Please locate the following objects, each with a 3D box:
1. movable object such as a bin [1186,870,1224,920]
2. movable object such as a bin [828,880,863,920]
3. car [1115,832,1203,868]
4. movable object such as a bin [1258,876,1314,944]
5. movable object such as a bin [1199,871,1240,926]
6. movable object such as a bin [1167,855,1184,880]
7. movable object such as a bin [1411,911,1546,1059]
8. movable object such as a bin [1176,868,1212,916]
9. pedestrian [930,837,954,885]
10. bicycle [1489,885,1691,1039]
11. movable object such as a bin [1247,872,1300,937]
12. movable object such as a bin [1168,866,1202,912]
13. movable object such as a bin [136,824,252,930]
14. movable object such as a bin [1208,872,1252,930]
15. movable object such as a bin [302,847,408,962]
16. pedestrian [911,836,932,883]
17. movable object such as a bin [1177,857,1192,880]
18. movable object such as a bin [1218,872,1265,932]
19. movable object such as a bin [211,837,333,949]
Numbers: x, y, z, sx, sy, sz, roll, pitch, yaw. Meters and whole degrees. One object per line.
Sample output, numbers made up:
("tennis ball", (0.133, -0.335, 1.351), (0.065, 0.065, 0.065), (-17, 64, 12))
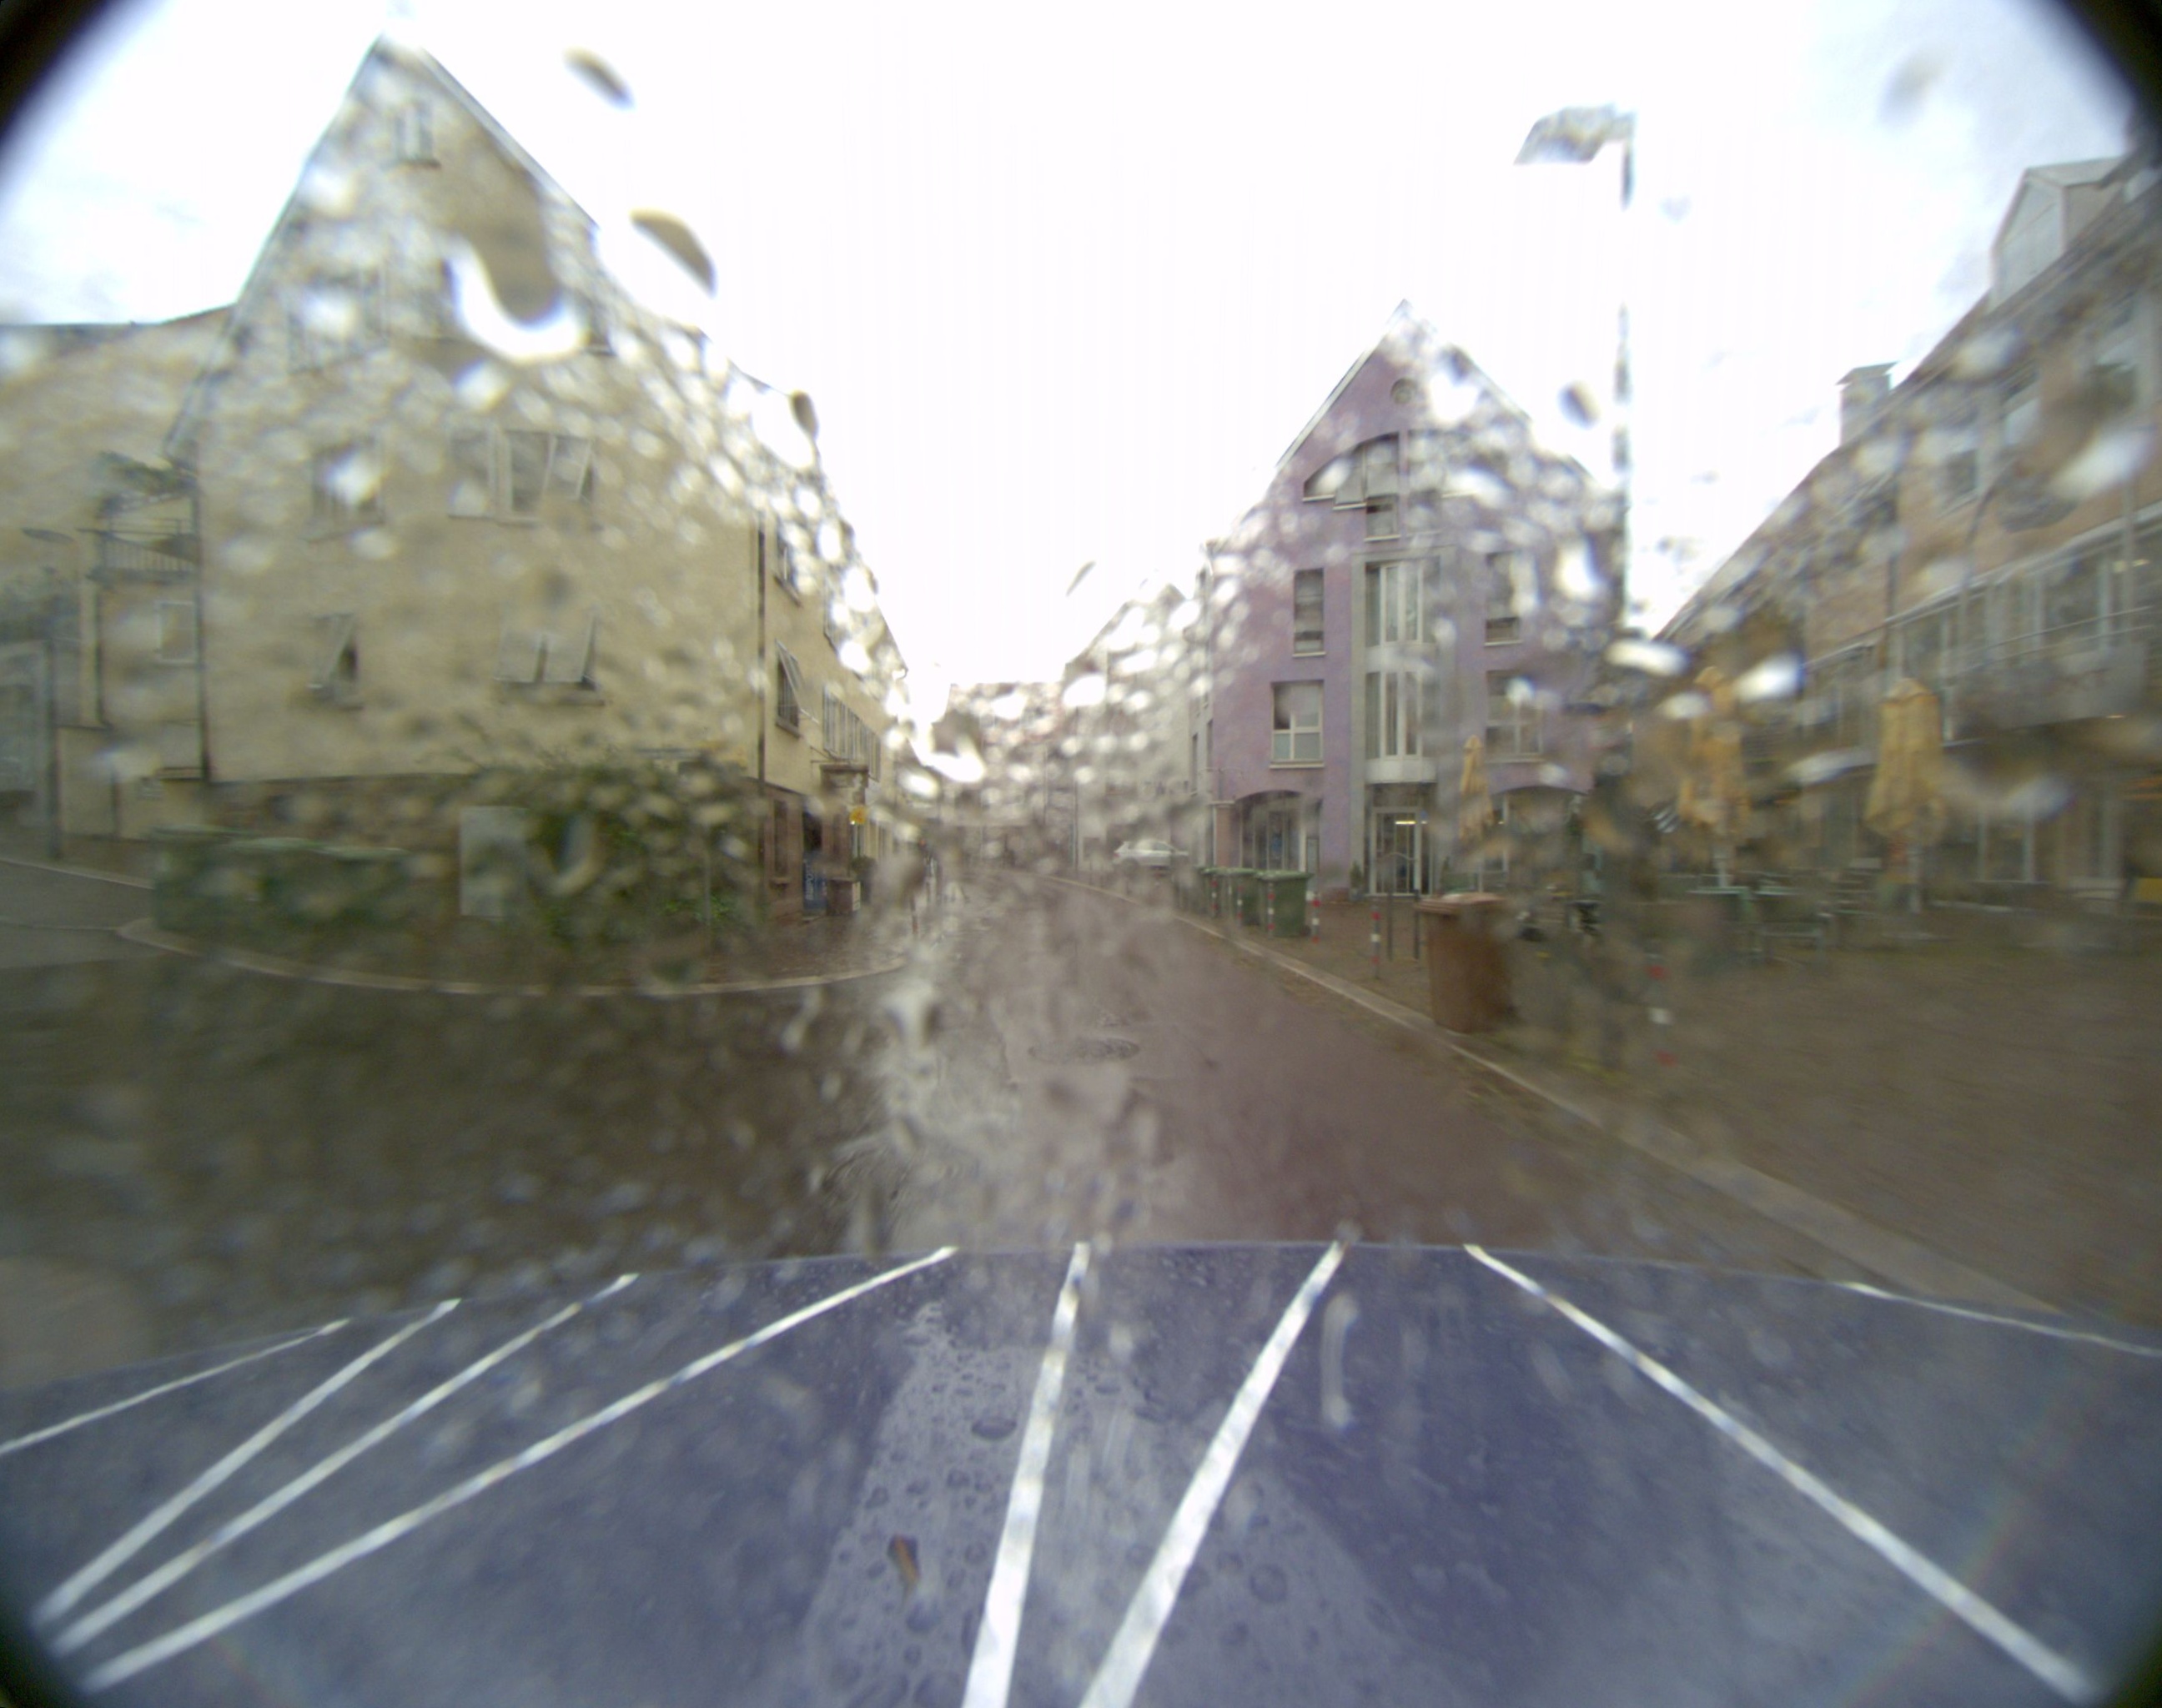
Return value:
("movable object such as a bin", (2.805, 0.906, 17.188), (0.688, 1.075, 0.669), (-1, 2, -7))
("movable object such as a bin", (-5.335, 1.030, 17.260), (0.547, 0.831, 0.909), (2, 1, -4))
("car", (3.683, -0.218, 35.621), (3.993, 1.575, 1.833), (0, 3, 8))
("movable object such as a bin", (3.354, 0.901, 12.479), (0.688, 1.036, 0.669), (-1, 2, -5))
("movable object such as a bin", (2.903, 0.932, 15.995), (0.688, 1.099, 0.669), (-1, 2, -7))
("movable object such as a bin", (3.826, 0.547, 30.770), (0.487, 0.983, 0.574), (2, 4, 36))
("movable object such as a bin", (3.110, 0.996, 5.987), (0.689, 1.014, 0.631), (-1, 2, -16))
("movable object such as a bin", (2.683, 0.890, 18.074), (0.688, 1.081, 0.712), (-1, 2, -7))
("pedestrian", (-5.678, 0.275, 31.048), (0.775, 1.894, 0.803), (1, 3, -25))
("bicycle", (4.429, 0.895, 6.609), (1.753, 1.158, 0.443), (-1, 4, -18))
("movable object such as a bin", (3.344, 0.868, 13.222), (0.688, 1.070, 0.669), (-1, 2, -7))
("movable object such as a bin", (2.567, 0.861, 18.798), (0.688, 1.072, 0.676), (-1, 2, -7))
("movable object such as a bin", (-9.351, 0.219, 8.026), (0.514, 1.051, 0.626), (3, 4, 19))
("movable object such as a bin", (2.977, 0.929, 15.223), (0.688, 1.099, 0.669), (-1, 2, -7))
("movable object such as a bin", (-7.174, 0.469, 7.518), (0.513, 1.051, 0.626), (4, 4, 31))
("pedestrian", (-6.460, 0.221, 30.803), (0.656, 1.892, 0.657), (1, 2, -25))
("movable object such as a bin", (4.076, 0.573, 30.028), (0.461, 0.891, 0.449), (-1, 3, -10))
("movable object such as a bin", (3.035, 0.896, 14.397), (0.688, 1.068, 0.669), (-1, 2, -7))
("movable object such as a bin", (-8.124, 0.371, 7.654), (0.514, 1.051, 0.625), (2, 3, 3))
